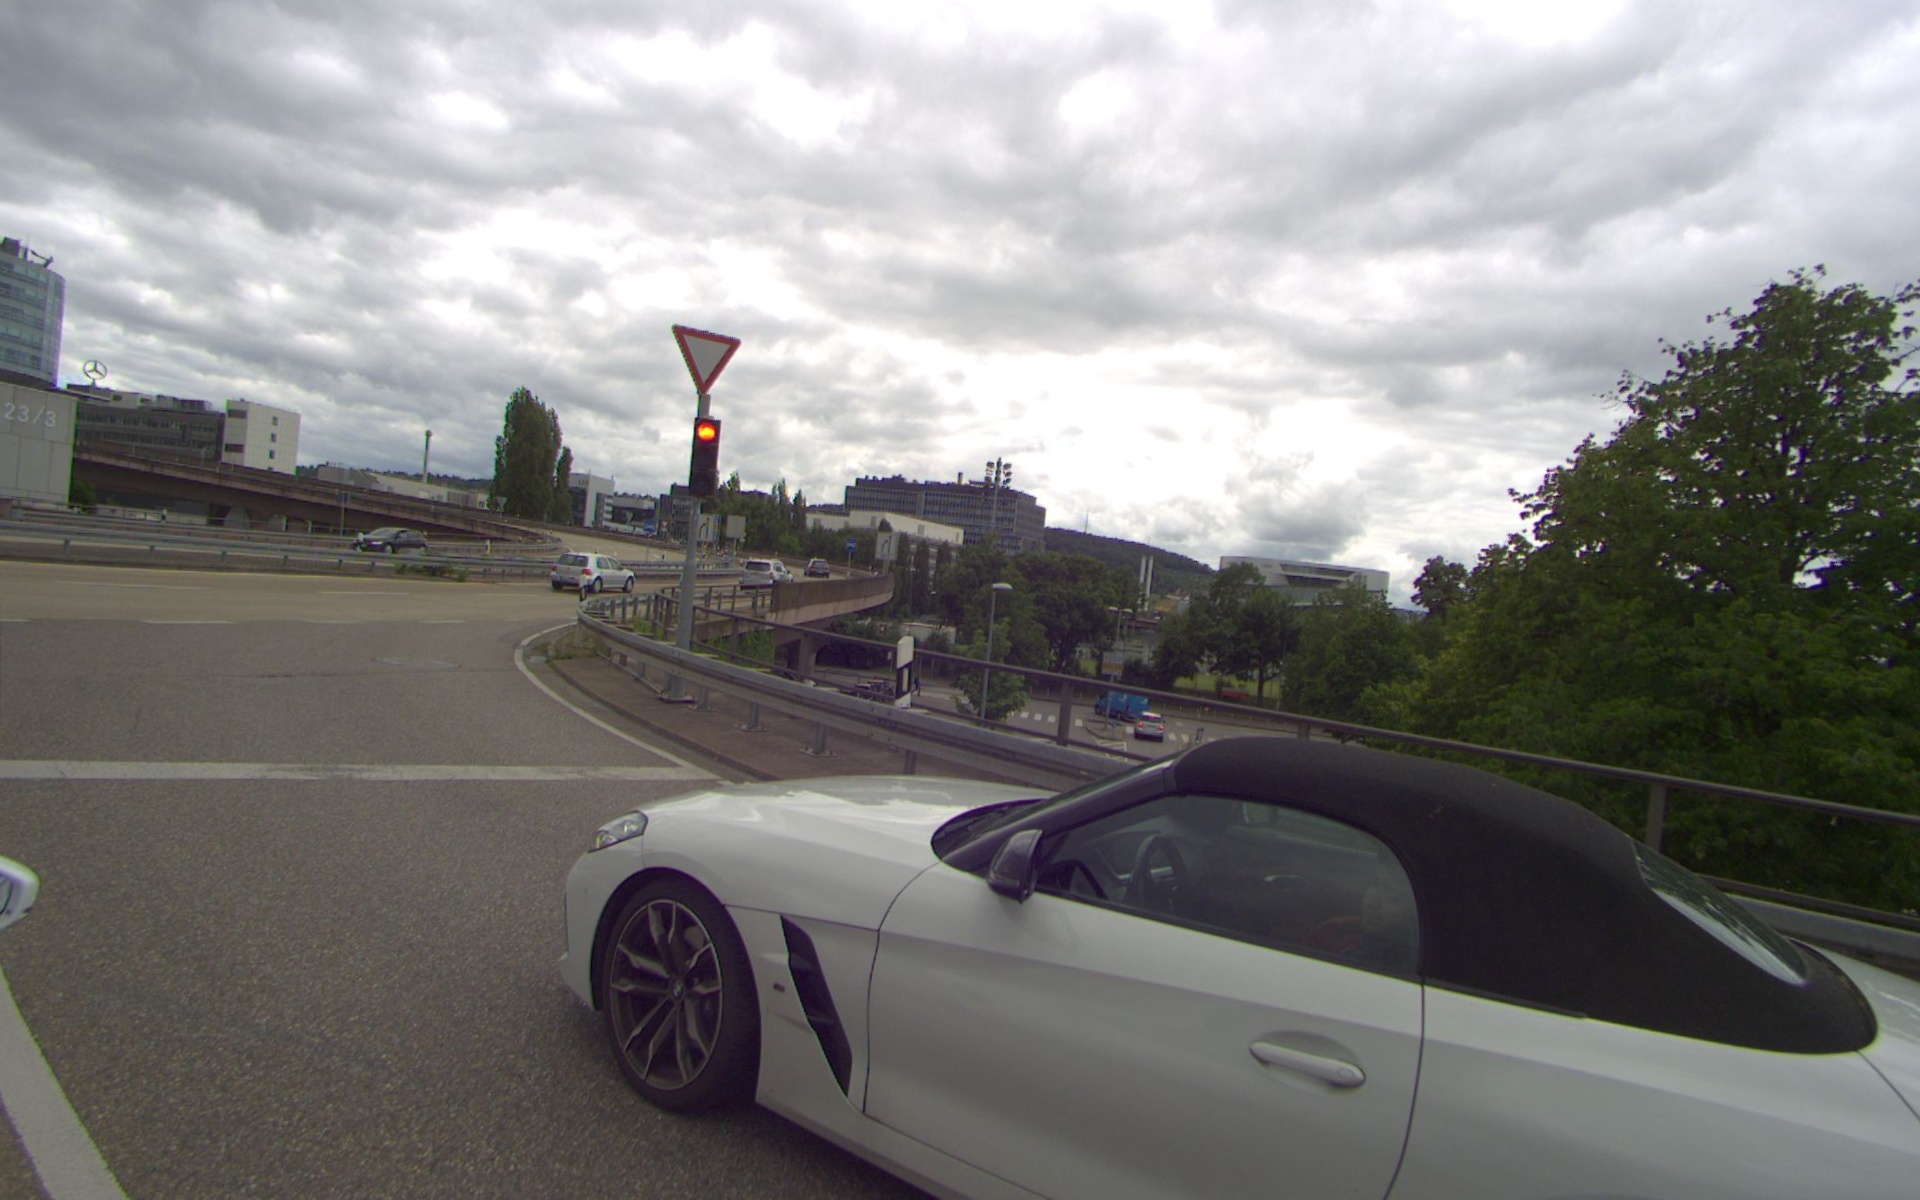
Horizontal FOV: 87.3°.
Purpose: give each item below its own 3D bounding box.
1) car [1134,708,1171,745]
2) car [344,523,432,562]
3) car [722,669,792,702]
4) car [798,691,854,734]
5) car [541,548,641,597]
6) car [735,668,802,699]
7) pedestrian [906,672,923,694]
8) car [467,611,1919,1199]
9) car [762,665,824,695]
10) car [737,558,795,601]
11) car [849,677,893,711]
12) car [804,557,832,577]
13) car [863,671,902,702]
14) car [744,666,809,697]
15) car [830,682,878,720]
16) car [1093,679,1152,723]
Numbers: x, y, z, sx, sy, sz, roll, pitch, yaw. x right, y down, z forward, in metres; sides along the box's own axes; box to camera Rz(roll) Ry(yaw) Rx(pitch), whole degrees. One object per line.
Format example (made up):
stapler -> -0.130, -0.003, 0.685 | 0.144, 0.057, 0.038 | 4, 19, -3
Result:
car -> 12.982, 8.517, 68.093 | 1.978, 1.883, 4.868 | 10, -2, 9
car -> -29.825, -2.972, 52.586 | 1.879, 1.438, 3.995 | 9, 0, 6
car -> -12.453, 5.268, 61.880 | 3.792, 1.371, 1.826 | 8, 1, 1
car -> -6.790, 5.697, 51.277 | 1.792, 1.553, 4.000 | 8, 0, 6
car -> -13.838, -0.981, 37.967 | 1.697, 1.417, 4.068 | 7, 0, 8
car -> -12.175, 5.315, 64.220 | 3.792, 1.371, 1.826 | 8, 1, 1
pedestrian -> -3.394, 6.219, 75.078 | 0.898, 1.514, 0.750 | 8, -3, 15
car -> 0.631, 0.985, 2.999 | 4.194, 1.306, 1.808 | 7, -2, 34
car -> -11.460, 5.489, 69.119 | 3.792, 1.371, 1.826 | 8, 1, 1
car -> -9.444, -0.976, 49.321 | 1.698, 1.758, 4.556 | 7, 0, 1
car -> -5.520, 5.833, 63.032 | 1.792, 1.553, 4.195 | 8, 0, 6
car -> -11.857, -2.728, 83.870 | 1.703, 1.480, 4.230 | 6, 0, -15
car -> -5.265, 5.859, 68.621 | 1.792, 1.553, 4.000 | 8, 0, 6
car -> -12.059, 5.373, 66.339 | 3.792, 1.371, 1.826 | 8, 1, 1
car -> -6.035, 5.784, 57.836 | 1.792, 1.553, 4.000 | 8, 0, 6
car -> 12.779, 7.923, 79.443 | 1.989, 2.617, 5.369 | 11, -2, -19
